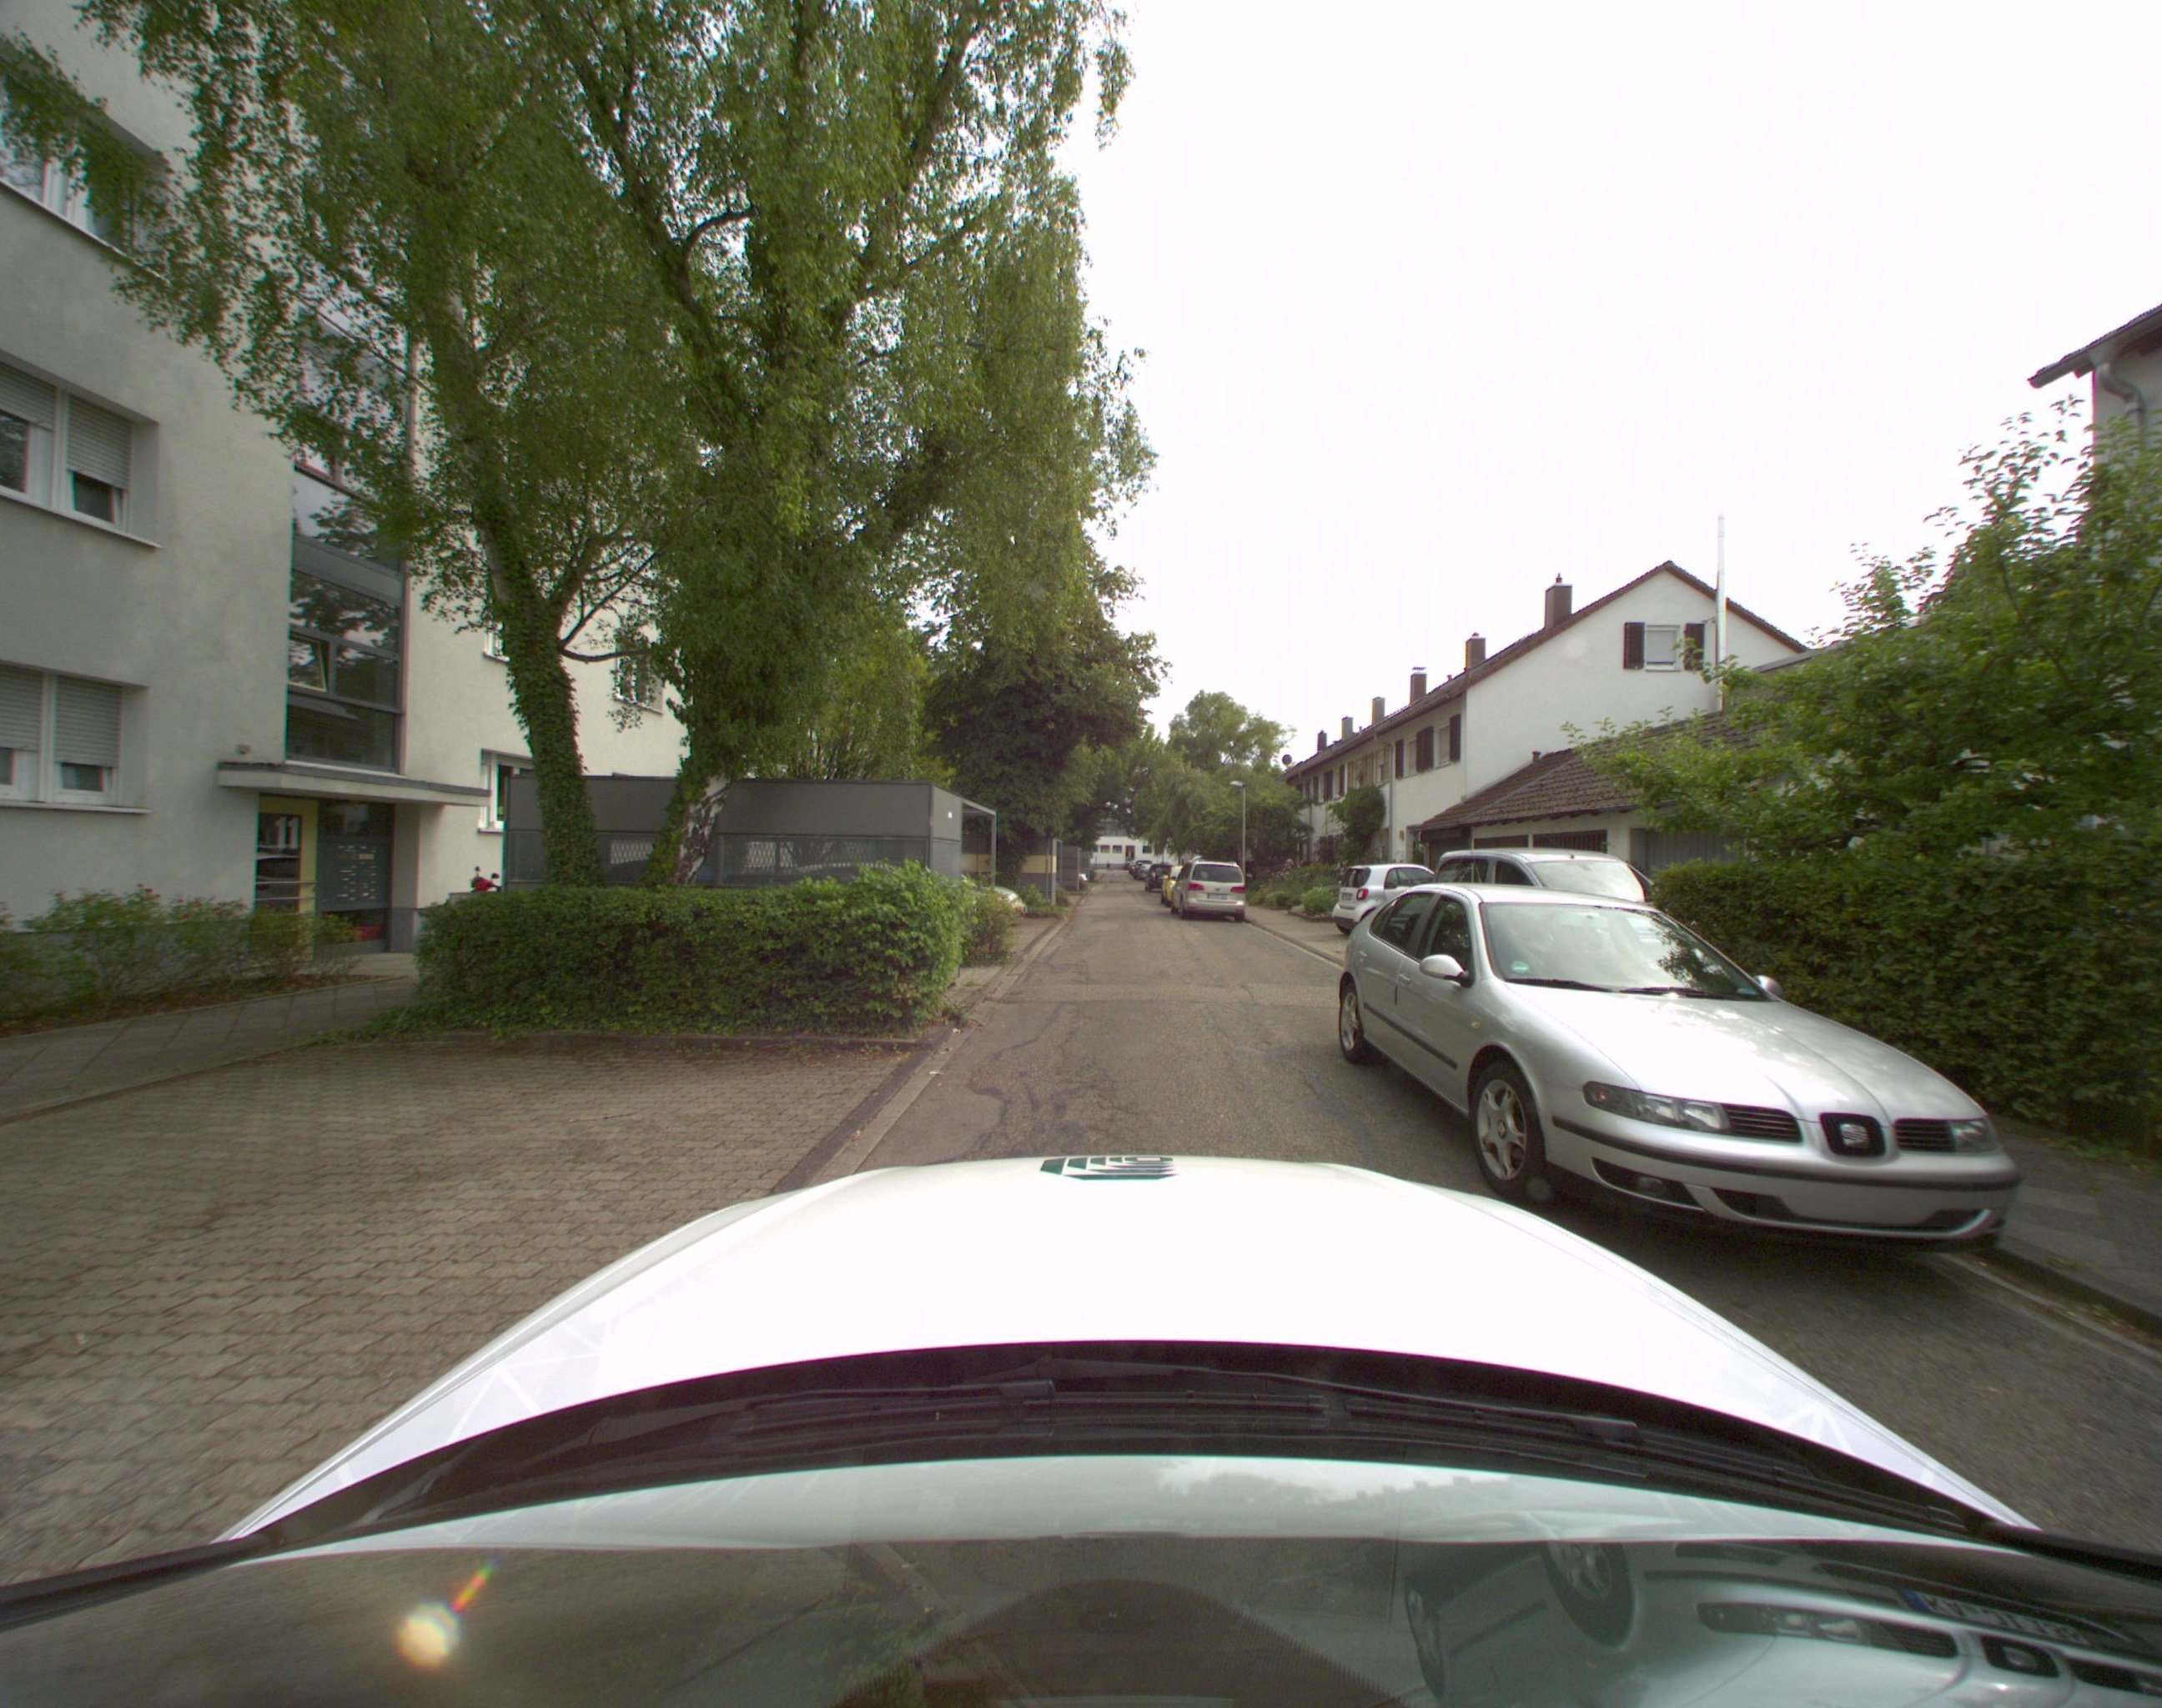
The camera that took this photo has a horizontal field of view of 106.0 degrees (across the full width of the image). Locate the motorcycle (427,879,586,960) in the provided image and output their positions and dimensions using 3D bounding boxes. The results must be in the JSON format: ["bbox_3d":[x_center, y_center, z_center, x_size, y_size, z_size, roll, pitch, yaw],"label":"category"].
[{"bbox_3d":[-8.594,0.944,12.291,1.906,1.123,0.670,1,-1,-32],"label":"motorcycle"}]

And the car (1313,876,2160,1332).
[{"bbox_3d":[2.864,0.908,4.972,1.817,1.370,4.334,3,0,3],"label":"car"}]

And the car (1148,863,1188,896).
[{"bbox_3d":[4.623,1.338,43.701,1.817,1.581,4.196,3,0,3],"label":"car"}]

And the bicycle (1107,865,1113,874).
[{"bbox_3d":[3.912,2.069,109.041,0.685,1.131,2.582,3,-1,5],"label":"bicycle"}]

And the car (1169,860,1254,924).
[{"bbox_3d":[3.674,1.026,23.551,1.818,1.581,4.001,3,0,1],"label":"car"}]

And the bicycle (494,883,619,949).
[{"bbox_3d":[-8.653,1.003,13.509,1.671,1.004,0.572,1,-1,-27],"label":"bicycle"}]

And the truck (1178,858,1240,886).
[{"bbox_3d":[9.668,1.349,61.809,4.373,2.014,2.001,-1,-1,1],"label":"truck"}]

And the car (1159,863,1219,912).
[{"bbox_3d":[3.896,1.174,29.999,1.817,1.581,4.003,3,0,3],"label":"car"}]

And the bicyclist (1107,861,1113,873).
[{"bbox_3d":[3.885,1.758,109.101,0.795,1.511,0.935,3,-1,4],"label":"bicyclist"}]

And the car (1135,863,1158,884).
[{"bbox_3d":[5.511,1.600,68.830,1.817,1.581,4.003,3,0,3],"label":"car"}]

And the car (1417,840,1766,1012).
[{"bbox_3d":[6.320,0.802,10.815,1.820,1.777,4.338,-1,-1,-1],"label":"car"}]

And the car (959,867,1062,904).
[{"bbox_3d":[-2.821,1.260,33.226,3.972,1.464,1.738,0,-1,1],"label":"car"}]

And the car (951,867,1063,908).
[{"bbox_3d":[-2.731,1.245,30.511,3.972,1.464,1.738,0,-1,1],"label":"car"}]

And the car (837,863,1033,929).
[{"bbox_3d":[-3.464,0.995,19.954,4.395,1.502,1.842,0,-1,2],"label":"car"}]

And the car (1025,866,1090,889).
[{"bbox_3d":[-1.457,1.501,51.793,4.016,1.394,1.738,0,-1,1],"label":"car"}]

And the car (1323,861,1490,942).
[{"bbox_3d":[6.784,0.962,17.188,2.807,1.569,1.740,-1,-1,0],"label":"car"}]

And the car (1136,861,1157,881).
[{"bbox_3d":[6.466,1.650,80.496,1.817,1.883,4.003,3,0,3],"label":"car"}]

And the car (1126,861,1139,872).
[{"bbox_3d":[7.605,1.848,121.360,1.817,1.581,4.003,3,0,3],"label":"car"}]
